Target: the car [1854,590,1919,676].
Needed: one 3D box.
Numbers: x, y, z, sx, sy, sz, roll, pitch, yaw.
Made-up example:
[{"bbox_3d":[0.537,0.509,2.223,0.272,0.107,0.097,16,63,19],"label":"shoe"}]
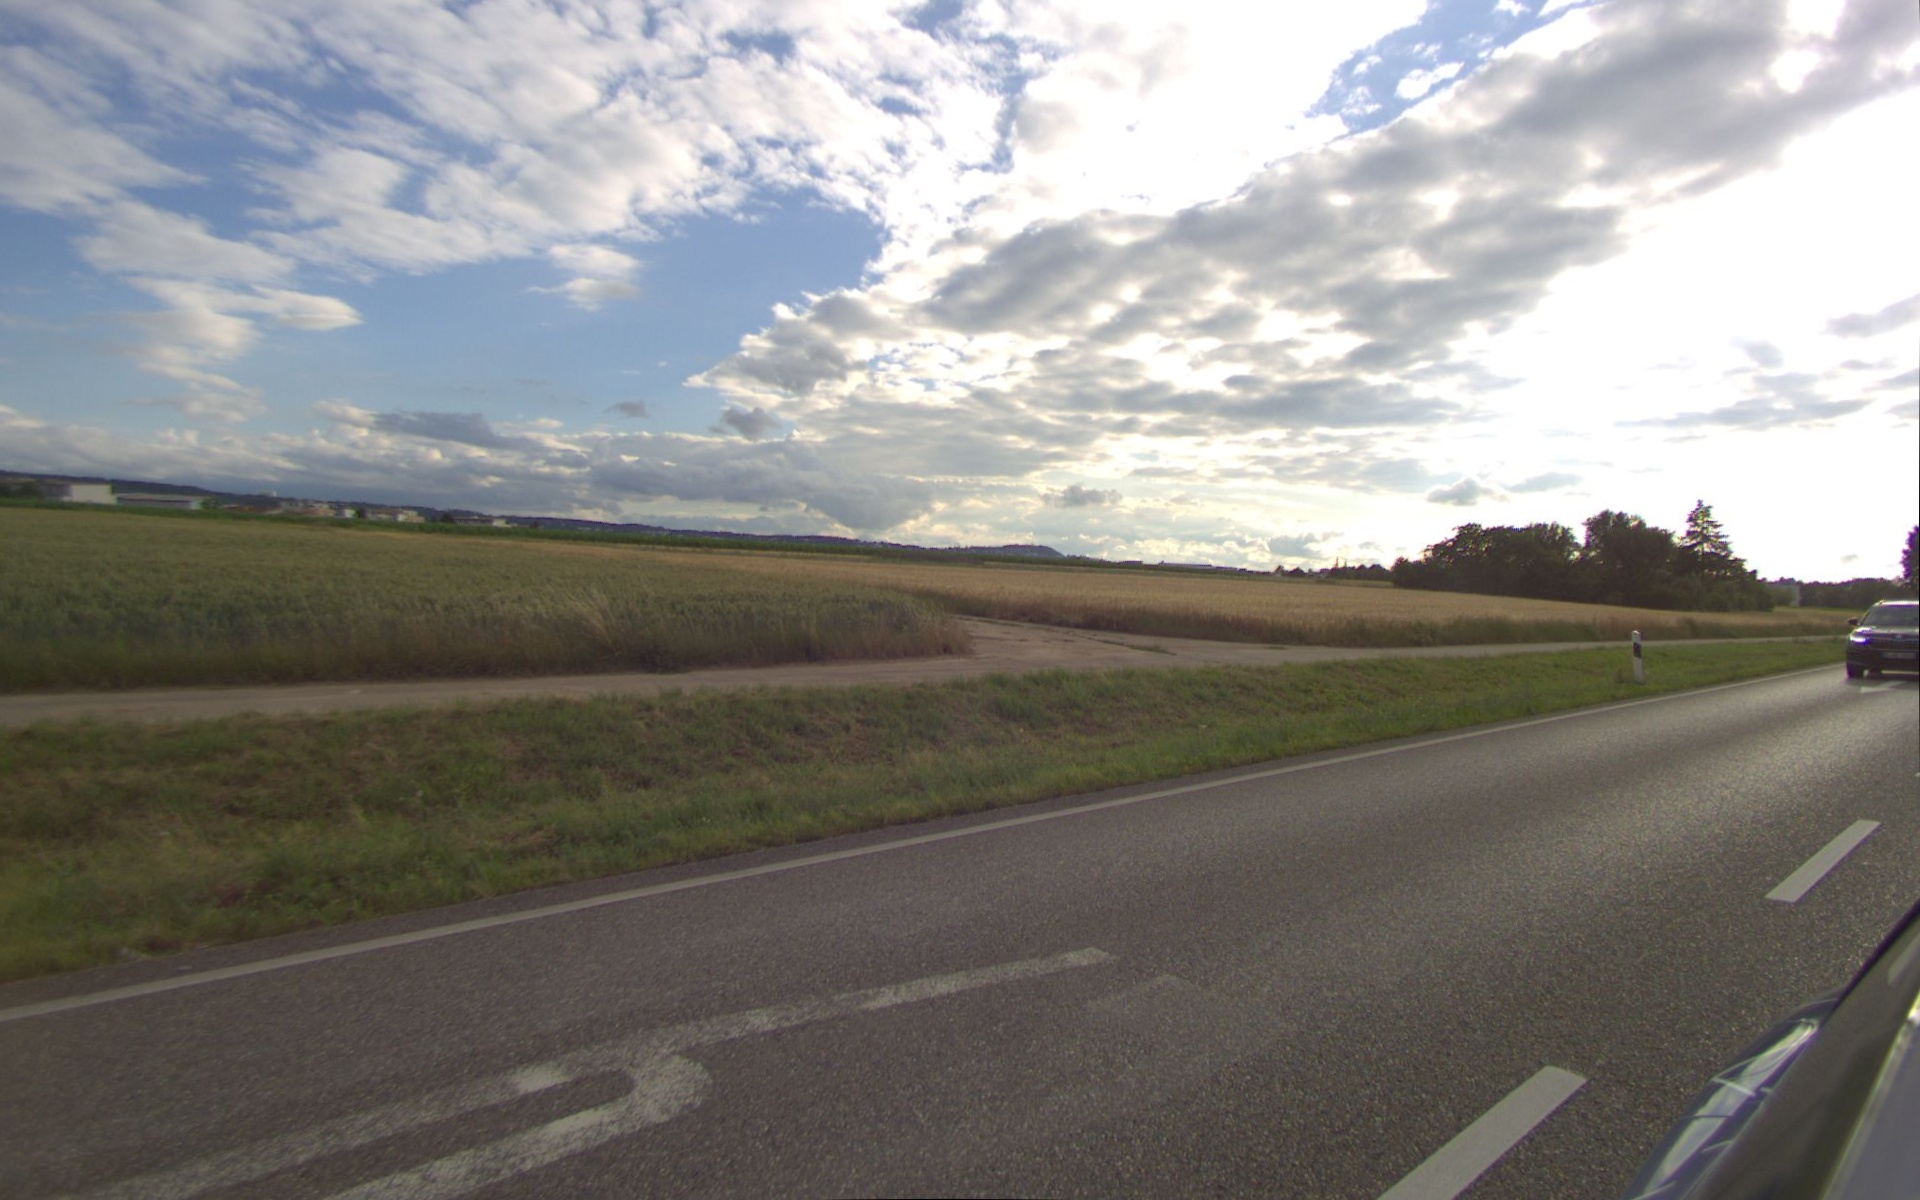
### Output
[{"bbox_3d":[21.027,0.655,21.968,4.477,1.730,1.840,-1,0,-41],"label":"car"}]
